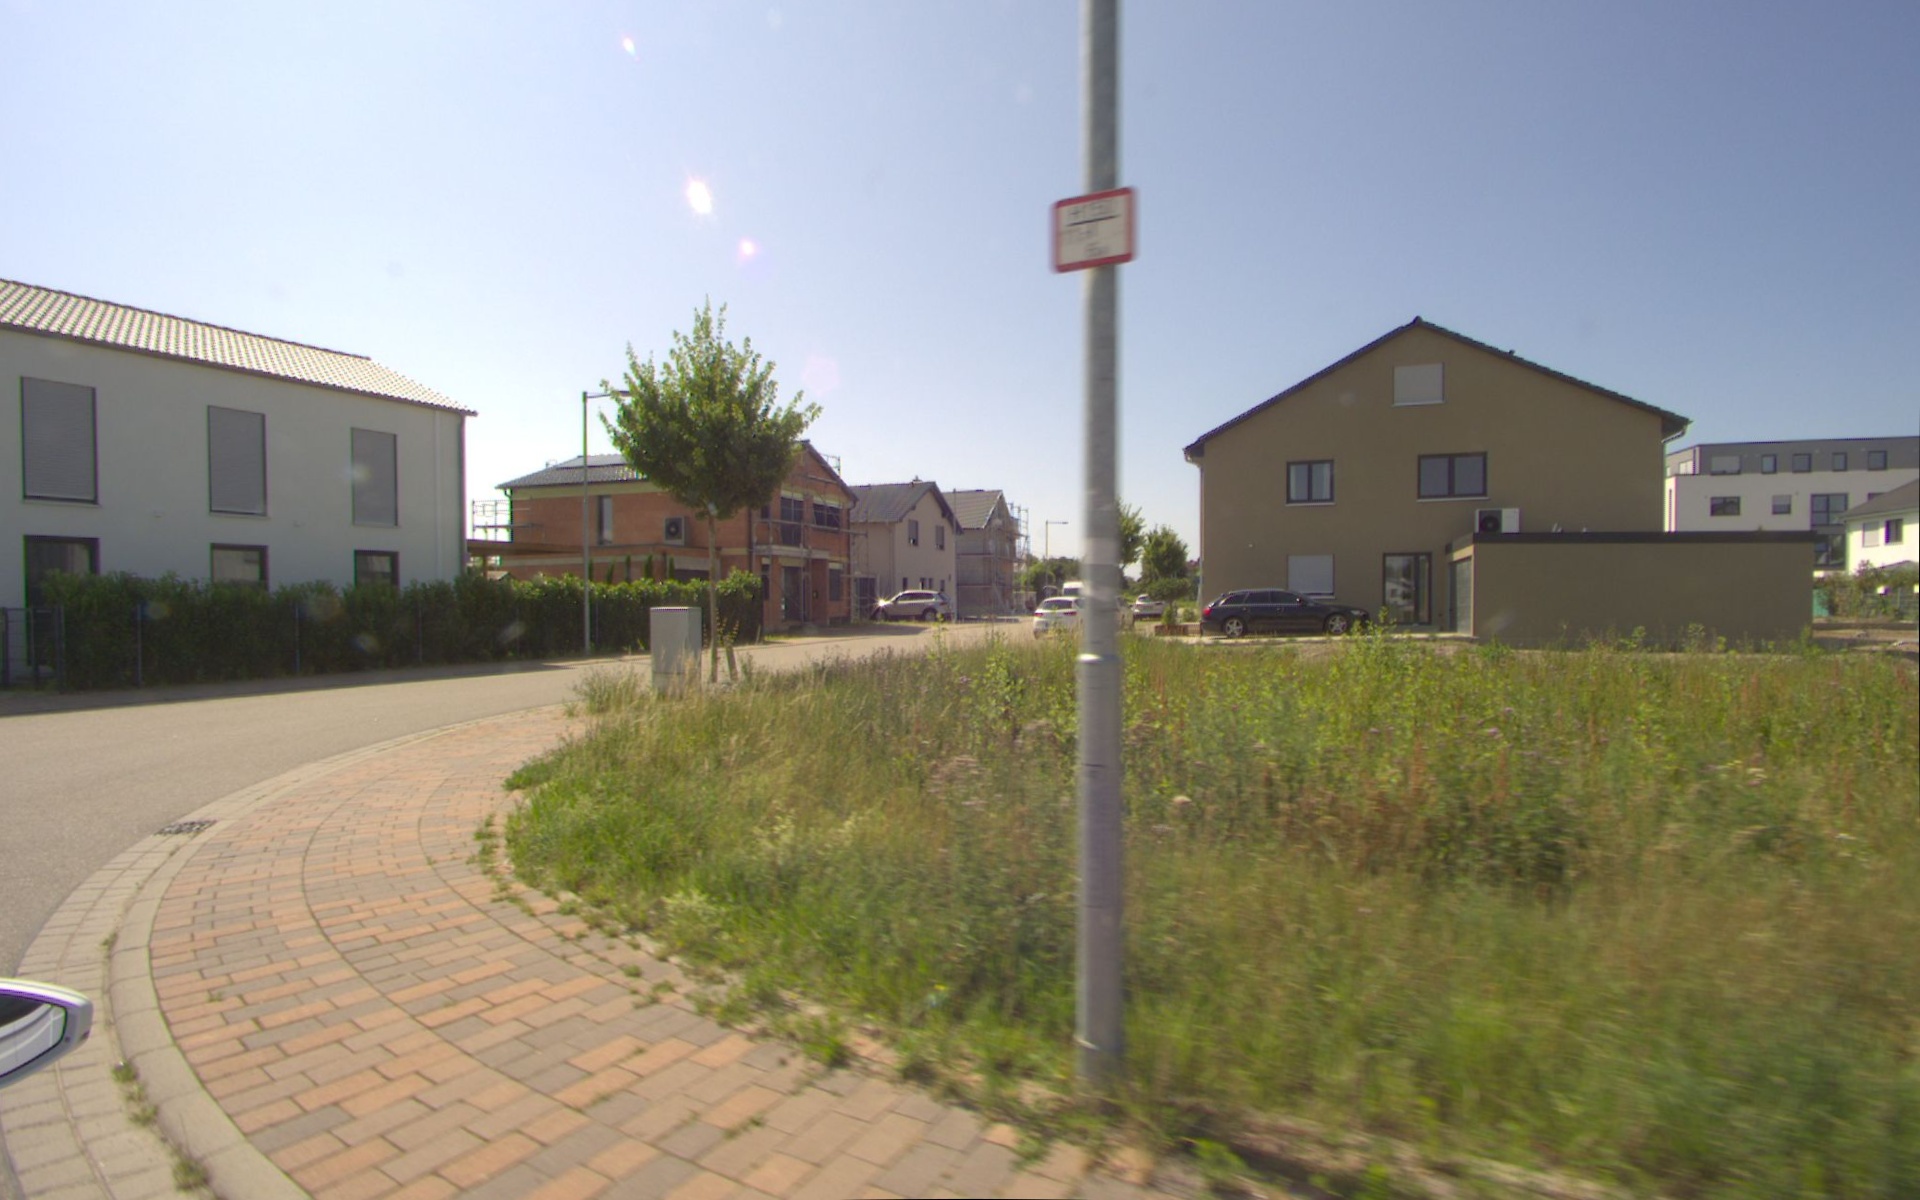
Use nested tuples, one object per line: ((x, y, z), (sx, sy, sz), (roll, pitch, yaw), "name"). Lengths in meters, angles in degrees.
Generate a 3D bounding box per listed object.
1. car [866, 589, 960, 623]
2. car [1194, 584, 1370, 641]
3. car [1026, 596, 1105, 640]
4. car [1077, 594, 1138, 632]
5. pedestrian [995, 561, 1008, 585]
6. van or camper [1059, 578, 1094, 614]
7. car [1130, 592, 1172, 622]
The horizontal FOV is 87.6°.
((-2.359, 0.308, 50.962), (4.359, 1.633, 1.997), (-1, 1, 17), "car")
((9.601, 0.381, 29.862), (4.822, 1.444, 1.994), (-3, 0, 23), "car")
((3.923, 0.612, 36.683), (1.789, 1.475, 4.553), (-2, 0, 20), "car")
((6.353, 0.526, 42.666), (1.754, 1.445, 4.504), (-2, 0, 19), "car")
((2.958, -1.926, 71.561), (0.737, 1.701, 0.576), (0, -1, -26), "pedestrian")
((8.738, -0.265, 74.457), (2.237, 2.587, 6.364), (0, 0, 10), "van or camper")
((11.095, 0.374, 57.912), (1.890, 1.531, 5.286), (-2, 0, 16), "car")
